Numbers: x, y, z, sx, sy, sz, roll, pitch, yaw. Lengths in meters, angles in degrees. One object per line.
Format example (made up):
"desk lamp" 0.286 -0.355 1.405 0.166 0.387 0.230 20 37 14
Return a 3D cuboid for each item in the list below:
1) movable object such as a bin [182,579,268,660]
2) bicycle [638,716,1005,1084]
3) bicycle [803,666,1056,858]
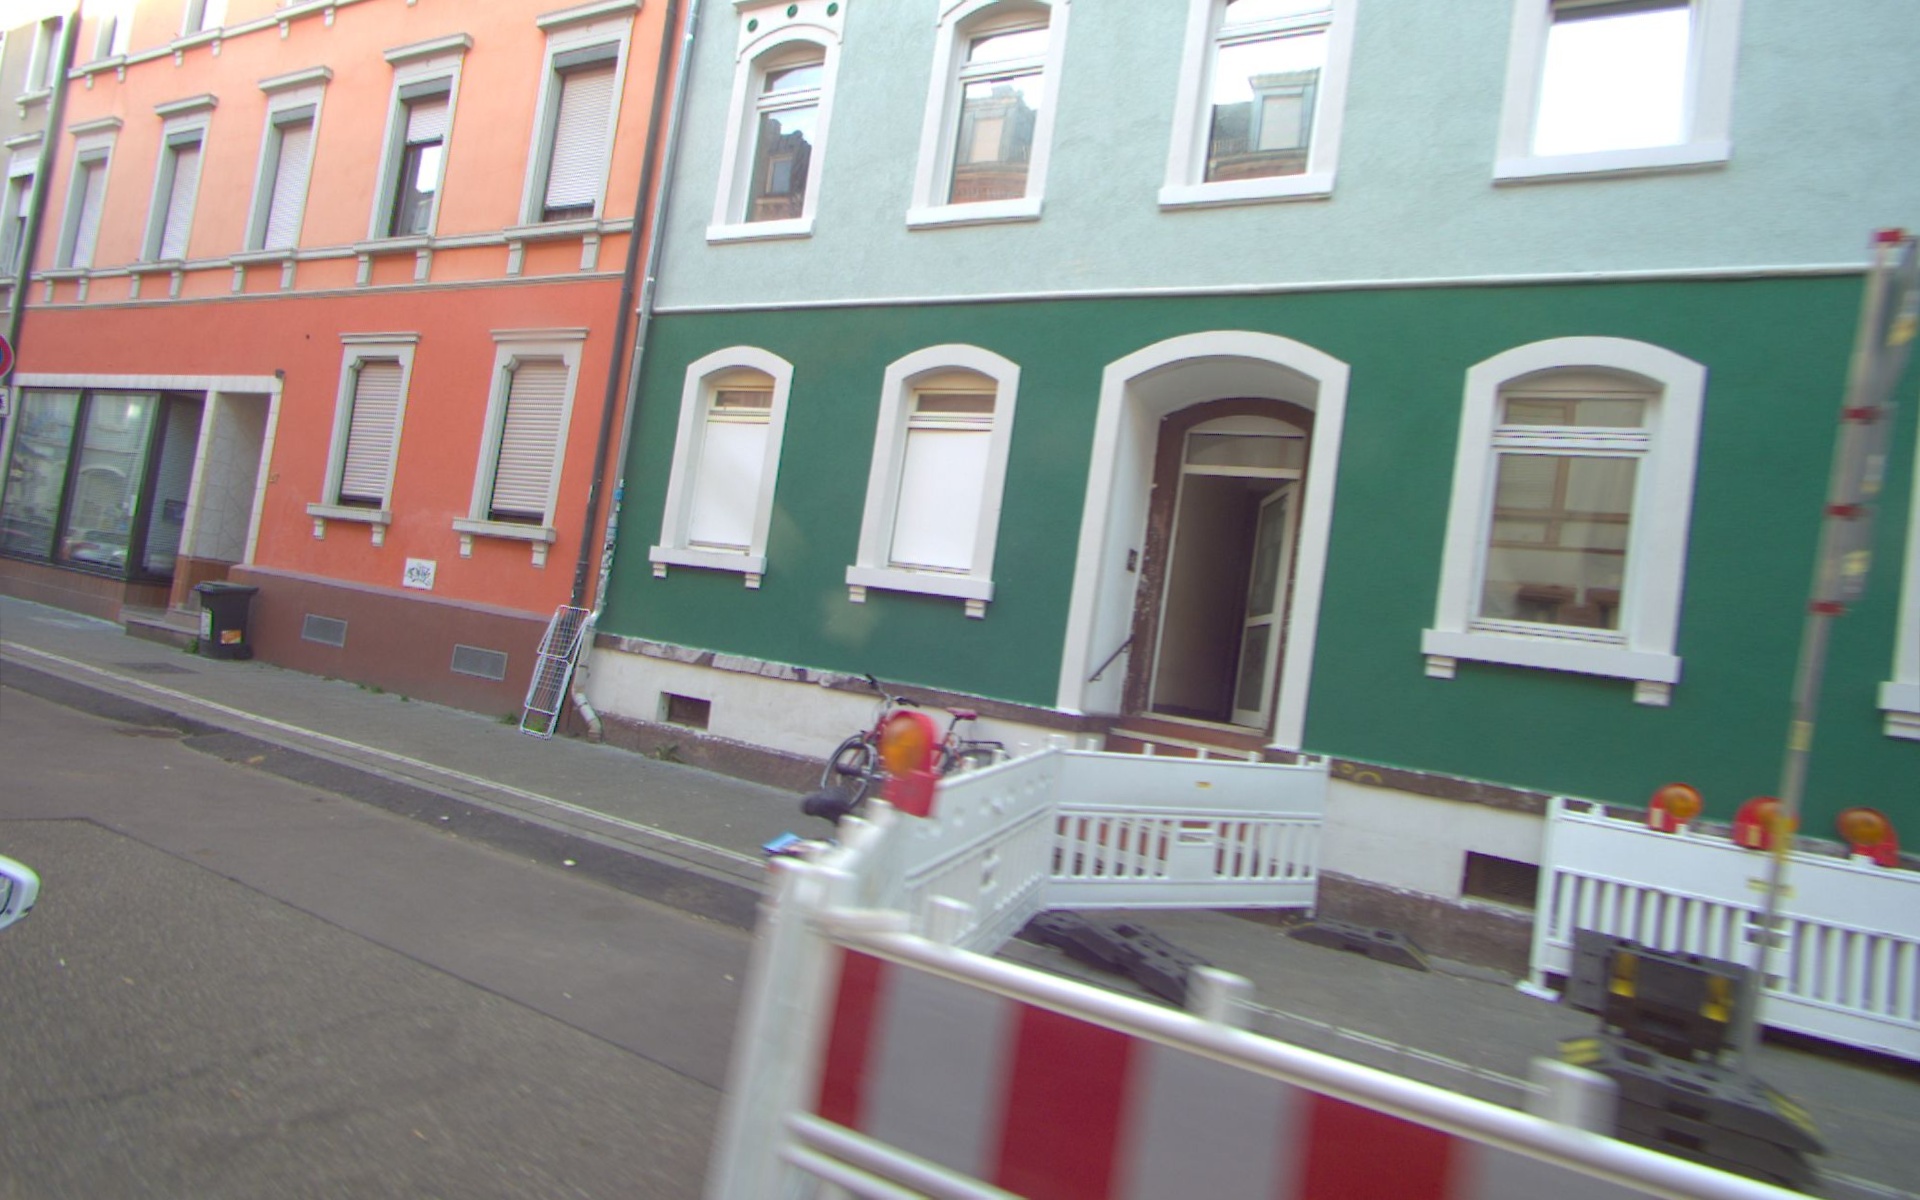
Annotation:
"movable object such as a bin" -9.082 0.251 12.436 0.569 0.917 0.598 6 0 26
"bicycle" -0.453 1.127 4.334 0.632 1.121 1.859 7 -4 20
"bicycle" -0.256 1.206 7.902 1.802 1.143 0.656 7 1 27
